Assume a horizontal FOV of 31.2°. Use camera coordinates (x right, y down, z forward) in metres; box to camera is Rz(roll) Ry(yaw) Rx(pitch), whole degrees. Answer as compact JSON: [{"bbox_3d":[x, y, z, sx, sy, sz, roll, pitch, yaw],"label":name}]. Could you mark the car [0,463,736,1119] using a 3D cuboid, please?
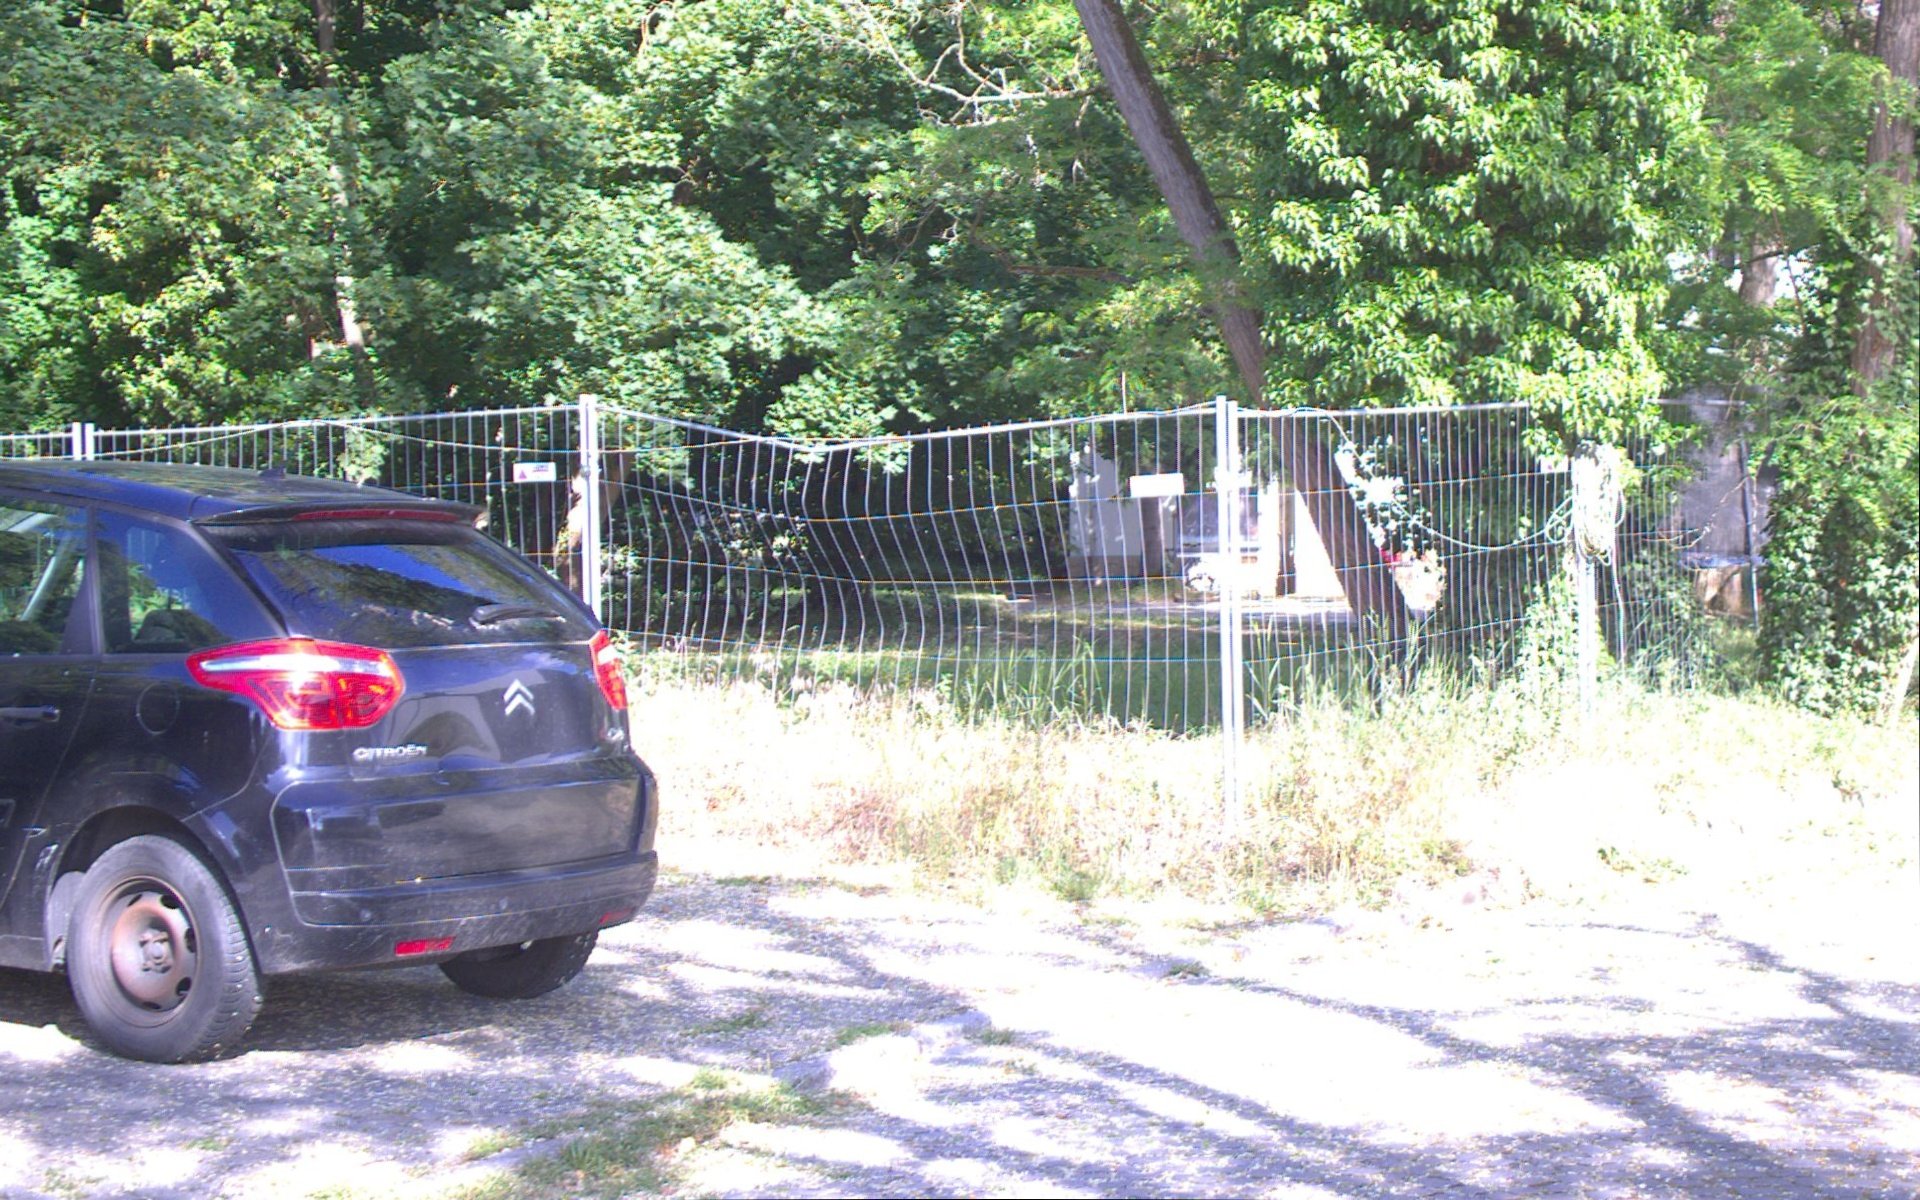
[{"bbox_3d":[-3.021,0.409,10.718,4.293,1.646,1.791,3,3,27],"label":"car"}]
